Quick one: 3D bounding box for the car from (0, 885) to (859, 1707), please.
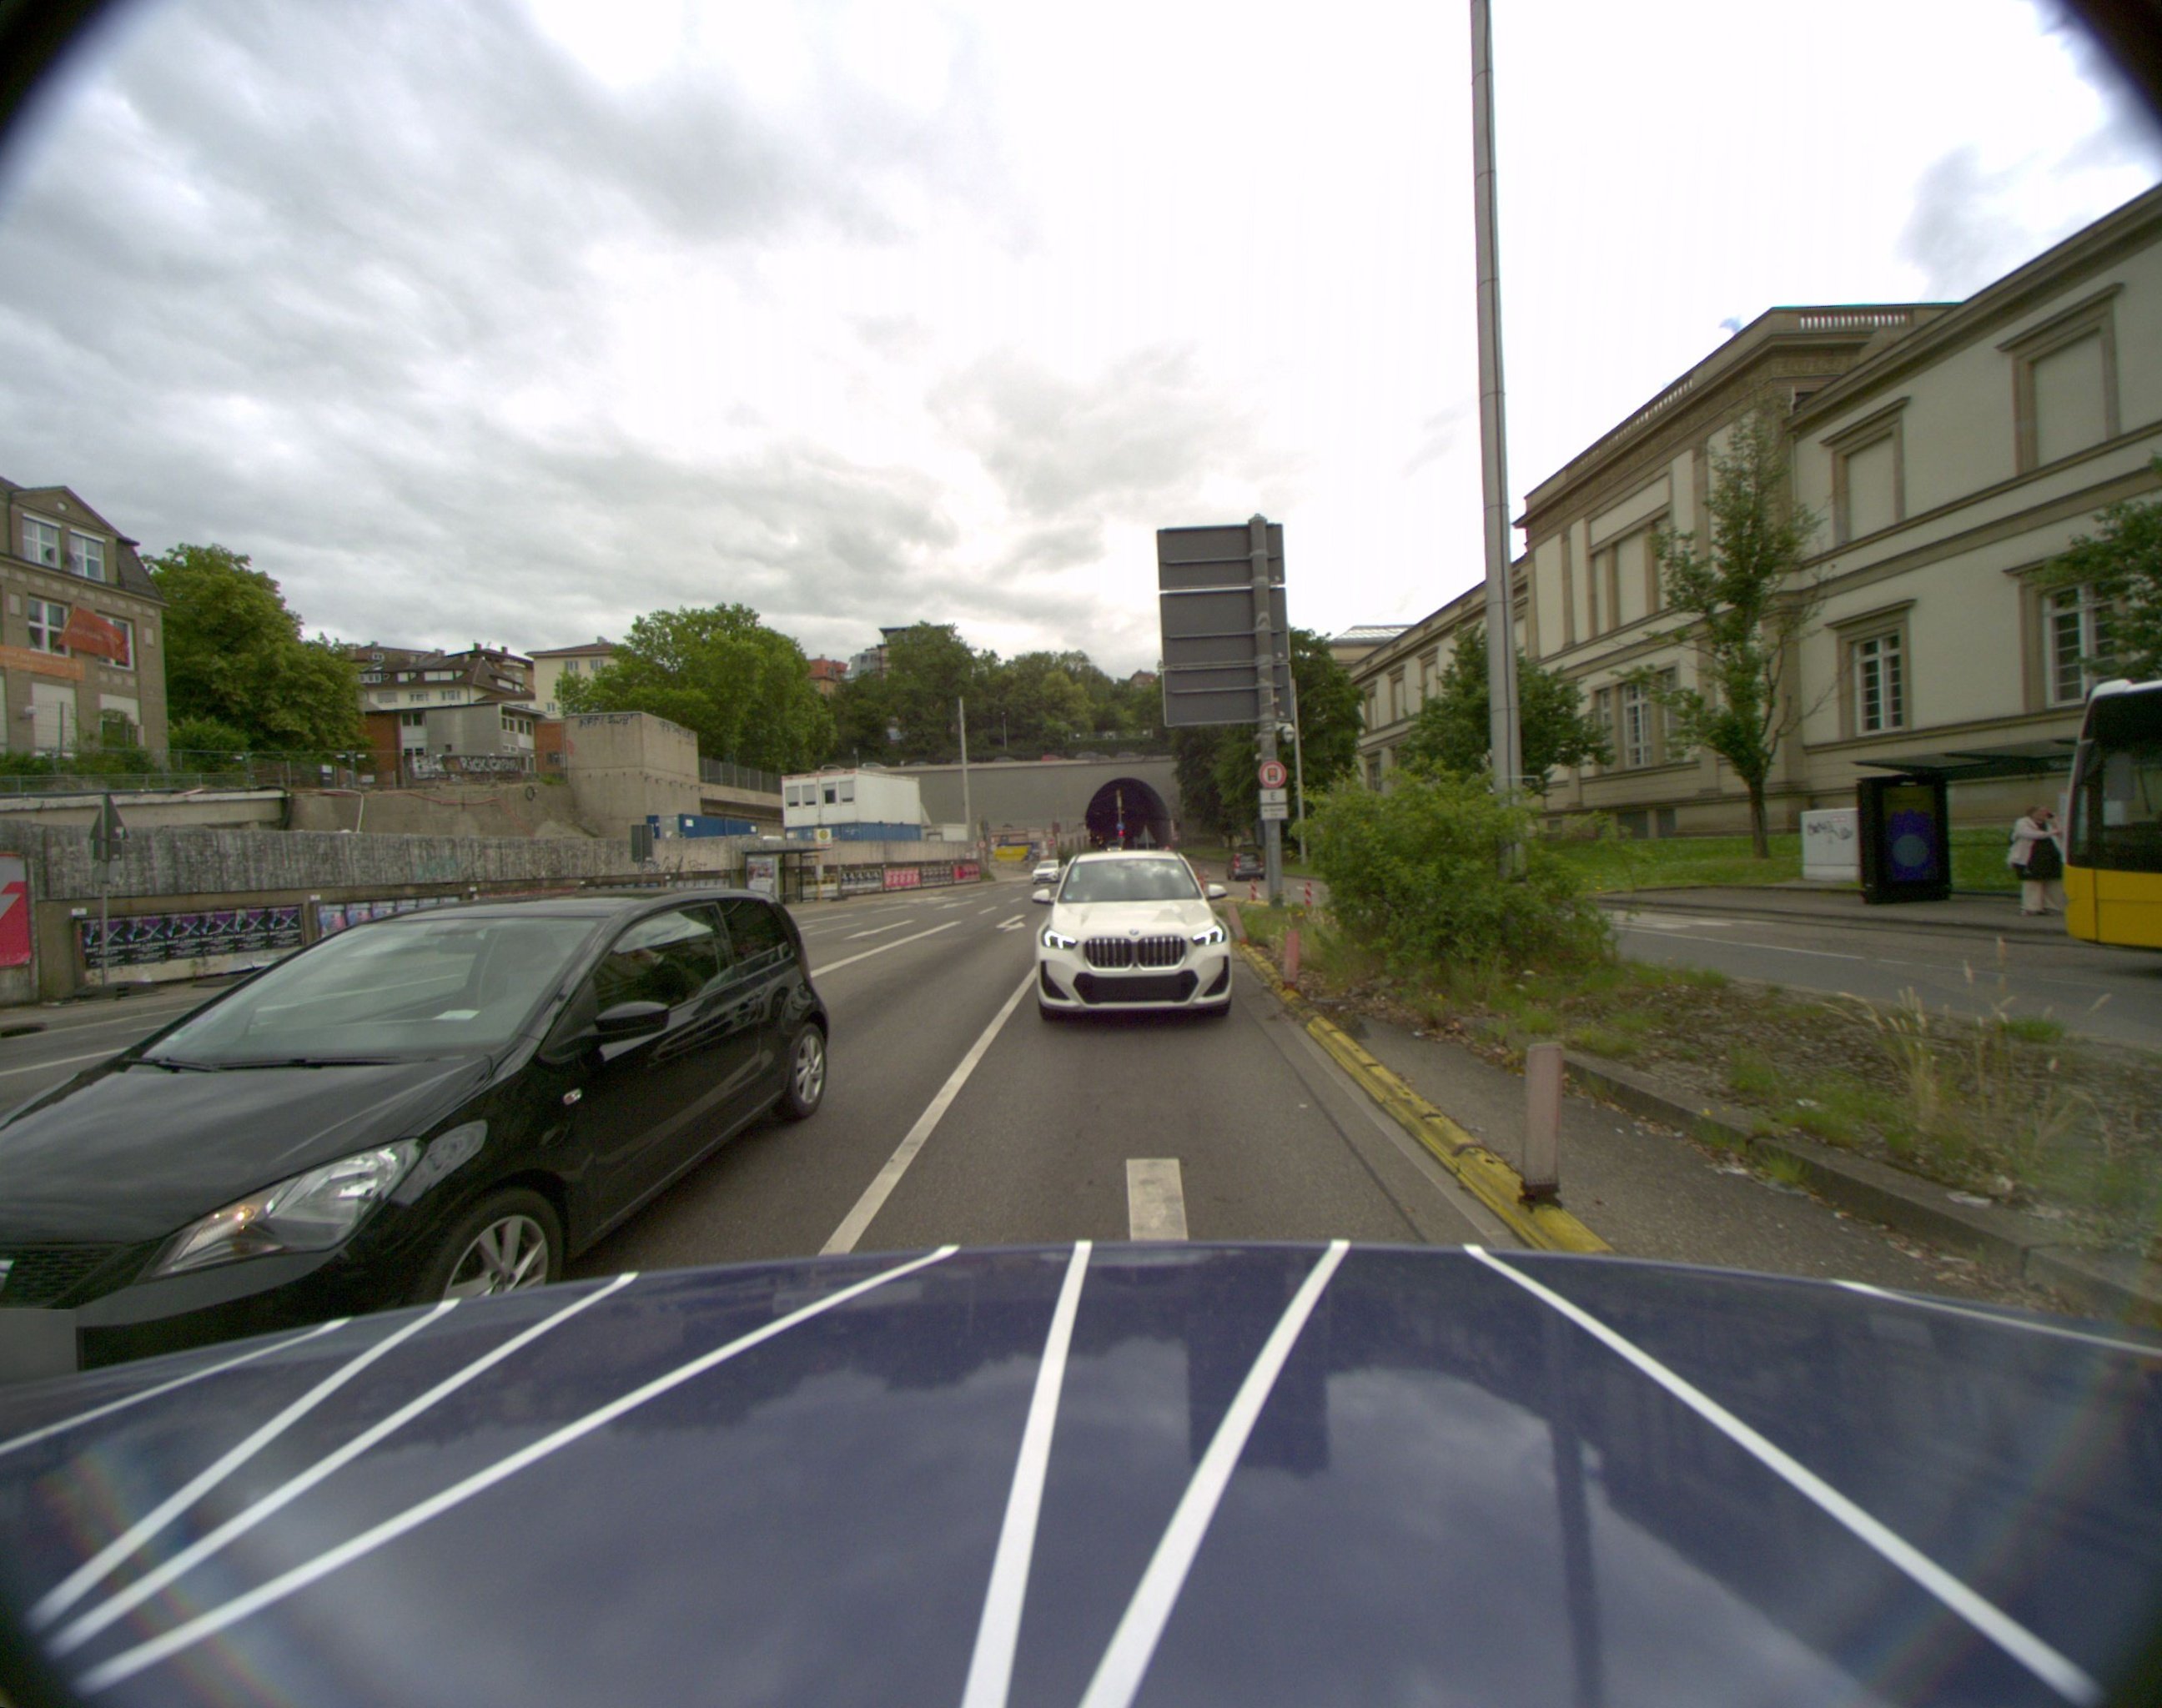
[{"bbox_3d":[-2.497,1.005,3.416,1.667,1.487,3.882,-3,0,2],"label":"car"}]

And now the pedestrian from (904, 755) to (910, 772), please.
[{"bbox_3d":[-21.411,-11.105,93.681,0.581,2.002,0.577,-2,1,-3],"label":"pedestrian"}]

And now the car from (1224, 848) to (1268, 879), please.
[{"bbox_3d":[9.100,0.493,42.122,1.667,1.582,3.882,-1,0,2],"label":"car"}]

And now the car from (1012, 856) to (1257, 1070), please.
[{"bbox_3d":[0.485,0.866,7.910,1.848,1.581,3.882,-3,0,2],"label":"car"}]

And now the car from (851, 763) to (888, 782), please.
[{"bbox_3d":[-26.005,-10.045,93.381,3.998,2.002,1.999,-2,1,-5],"label":"car"}]

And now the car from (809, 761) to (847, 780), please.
[{"bbox_3d":[-31.054,-10.233,93.317,3.998,2.002,1.999,-2,1,-5],"label":"car"}]

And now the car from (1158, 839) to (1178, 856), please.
[{"bbox_3d":[8.899,-0.652,77.603,1.667,1.582,3.882,-1,0,2],"label":"car"}]

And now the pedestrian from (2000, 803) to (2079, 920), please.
[{"bbox_3d":[14.206,0.116,11.271,0.586,1.685,0.459,-2,1,35],"label":"pedestrian"}]

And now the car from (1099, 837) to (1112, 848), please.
[{"bbox_3d":[3.455,-1.613,108.011,1.705,1.550,4.550,-3,0,1],"label":"car"}]

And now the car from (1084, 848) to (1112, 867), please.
[{"bbox_3d":[1.545,0.292,68.163,1.825,1.562,4.657,-3,0,9],"label":"car"}]

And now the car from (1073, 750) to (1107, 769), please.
[{"bbox_3d":[1.110,-11.800,94.495,3.998,2.002,1.999,-2,1,-2],"label":"car"}]

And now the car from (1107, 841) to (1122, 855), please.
[{"bbox_3d":[4.006,-0.662,90.712,1.704,1.550,4.551,-3,0,3],"label":"car"}]

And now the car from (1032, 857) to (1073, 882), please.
[{"bbox_3d":[-1.844,0.977,49.717,1.662,1.471,4.003,-3,0,12],"label":"car"}]

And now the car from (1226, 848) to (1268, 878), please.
[{"bbox_3d":[9.049,0.484,41.556,1.539,1.542,2.823,-2,0,-2],"label":"car"}]

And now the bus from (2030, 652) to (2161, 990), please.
[{"bbox_3d":[11.182,-0.345,3.010,2.852,3.096,9.750,-3,0,2],"label":"bus"}]

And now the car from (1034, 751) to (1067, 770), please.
[{"bbox_3d":[-3.768,-11.622,94.411,3.998,2.002,1.999,-2,1,-2],"label":"car"}]

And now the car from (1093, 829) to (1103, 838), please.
[{"bbox_3d":[2.850,-3.438,128.984,1.728,1.310,4.000,-3,0,1],"label":"car"}]

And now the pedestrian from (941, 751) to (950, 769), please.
[{"bbox_3d":[-16.224,-11.272,90.917,0.851,2.002,0.905,-3,1,-3],"label":"pedestrian"}]
